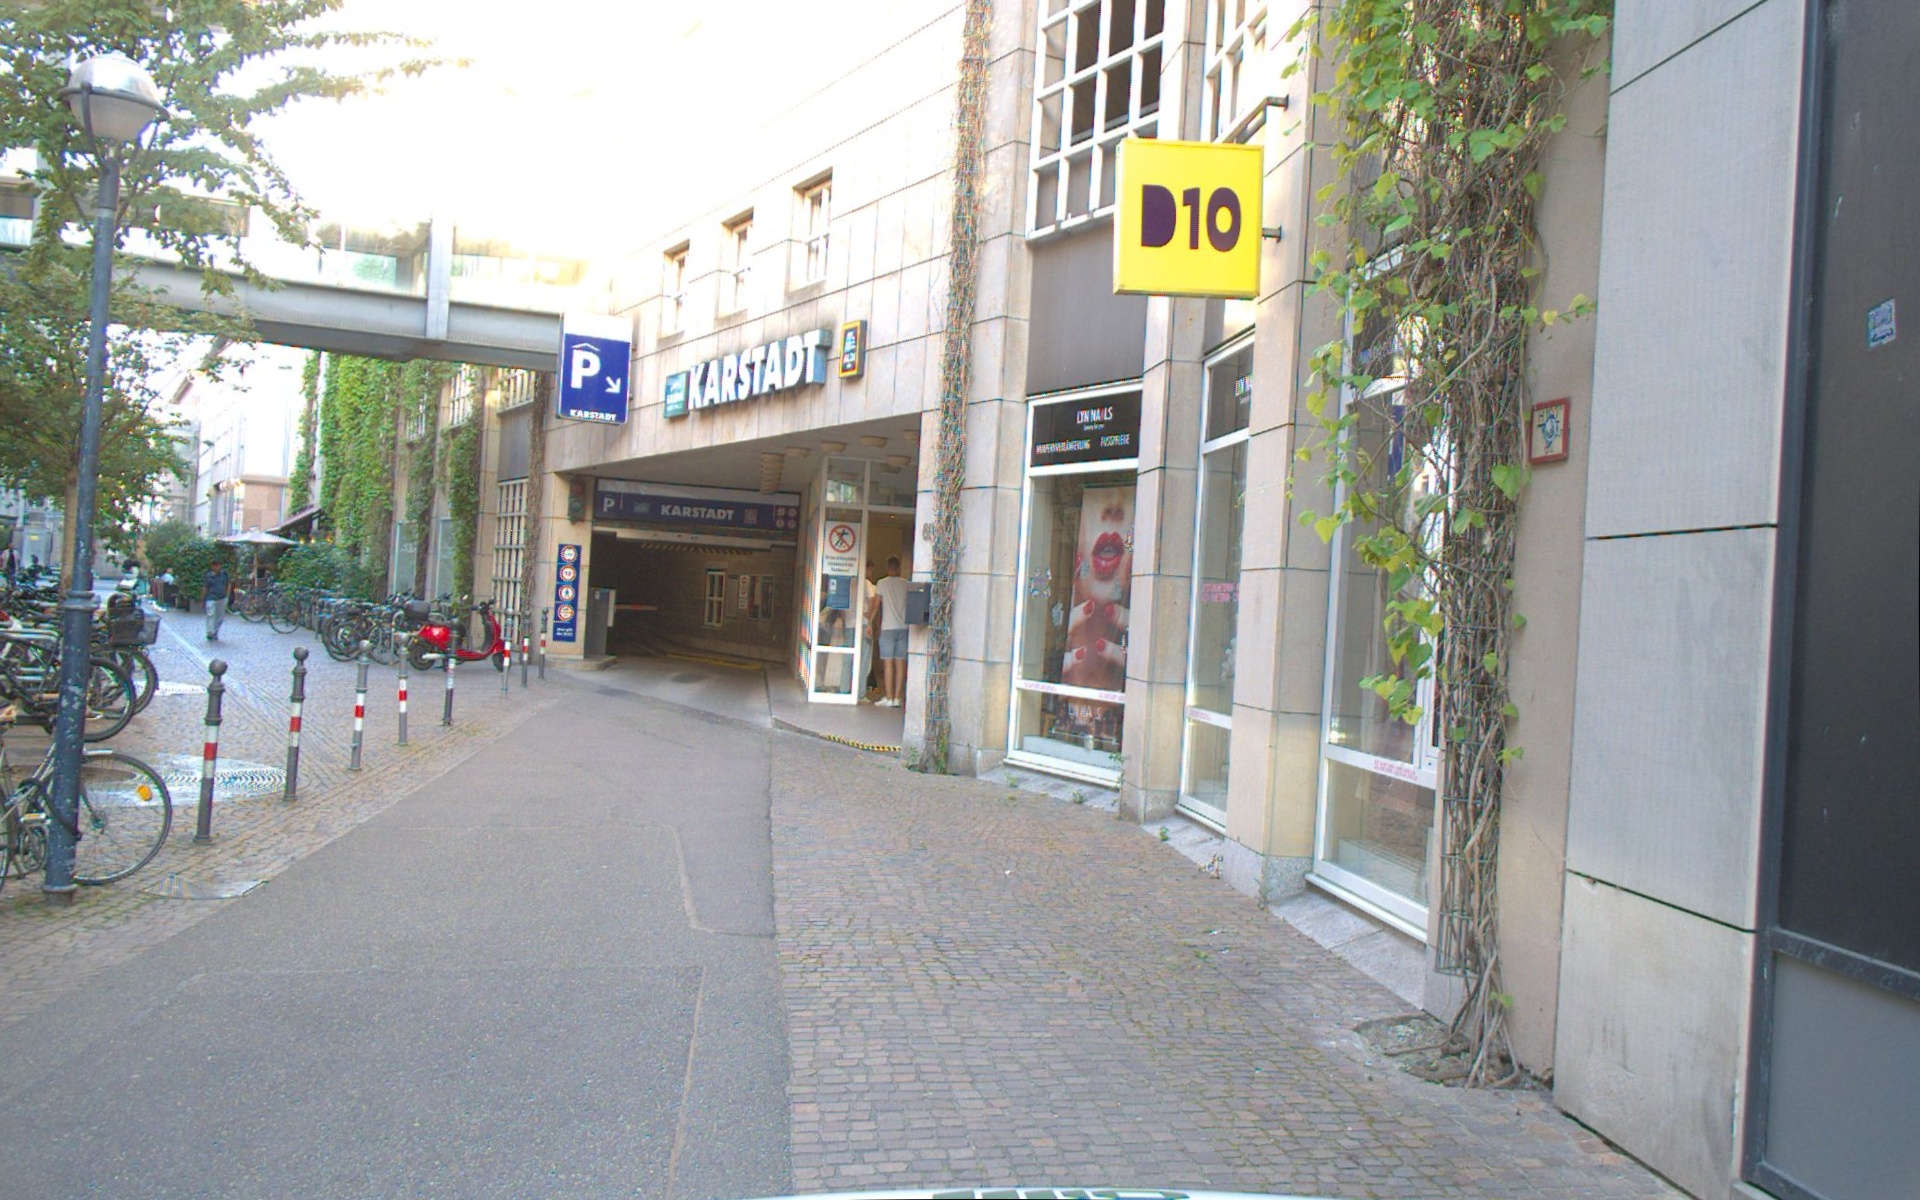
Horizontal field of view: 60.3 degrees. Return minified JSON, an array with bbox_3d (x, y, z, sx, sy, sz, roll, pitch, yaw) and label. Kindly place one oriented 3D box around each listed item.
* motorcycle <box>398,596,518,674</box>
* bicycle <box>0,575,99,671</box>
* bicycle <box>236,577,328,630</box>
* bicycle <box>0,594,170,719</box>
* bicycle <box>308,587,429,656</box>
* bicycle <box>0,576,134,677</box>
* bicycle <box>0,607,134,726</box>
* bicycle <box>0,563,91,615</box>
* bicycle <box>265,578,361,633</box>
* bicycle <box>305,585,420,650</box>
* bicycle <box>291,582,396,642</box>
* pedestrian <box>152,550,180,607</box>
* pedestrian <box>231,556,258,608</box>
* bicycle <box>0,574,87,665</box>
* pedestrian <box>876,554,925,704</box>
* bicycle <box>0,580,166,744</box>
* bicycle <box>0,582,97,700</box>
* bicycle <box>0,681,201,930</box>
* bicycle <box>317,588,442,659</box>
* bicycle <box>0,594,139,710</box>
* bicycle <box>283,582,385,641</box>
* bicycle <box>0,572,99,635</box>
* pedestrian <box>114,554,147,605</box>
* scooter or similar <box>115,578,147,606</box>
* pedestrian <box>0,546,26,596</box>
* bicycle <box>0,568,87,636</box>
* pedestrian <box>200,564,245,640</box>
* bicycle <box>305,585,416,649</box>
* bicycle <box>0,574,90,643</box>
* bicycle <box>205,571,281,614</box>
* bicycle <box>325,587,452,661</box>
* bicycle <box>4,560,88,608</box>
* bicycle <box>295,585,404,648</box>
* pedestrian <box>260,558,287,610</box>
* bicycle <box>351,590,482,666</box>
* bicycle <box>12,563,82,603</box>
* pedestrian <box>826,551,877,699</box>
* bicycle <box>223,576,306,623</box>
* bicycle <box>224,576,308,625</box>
[{"bbox_3d":[-7.853,0.545,25.871,1.723,1.175,0.590,1,0,-25],"label":"motorcycle"},{"bbox_3d":[-12.500,0.290,21.868,1.888,1.203,0.691,3,0,-25],"label":"bicycle"},{"bbox_3d":[-16.068,0.082,39.221,1.970,1.203,0.688,1,0,-27],"label":"bicycle"},{"bbox_3d":[-8.636,0.536,15.825,1.891,1.121,0.690,3,0,-28],"label":"bicycle"},{"bbox_3d":[-10.750,0.389,30.060,1.970,1.203,0.796,1,0,-27],"label":"bicycle"},{"bbox_3d":[-11.715,0.335,21.231,1.888,1.203,0.691,3,0,-25],"label":"bicycle"},{"bbox_3d":[-8.527,0.588,14.914,1.891,1.011,0.690,3,0,-28],"label":"bicycle"},{"bbox_3d":[-22.959,-0.274,41.548,1.888,1.203,0.691,3,0,-25],"label":"bicycle"},{"bbox_3d":[-14.698,0.136,37.578,1.970,1.203,0.688,1,0,-27],"label":"bicycle"},{"bbox_3d":[-11.355,0.335,31.443,1.970,1.203,0.796,1,0,-27],"label":"bicycle"},{"bbox_3d":[-12.815,0.249,34.375,1.970,1.203,0.688,1,0,-27],"label":"bicycle"},{"bbox_3d":[-26.551,-0.717,55.301,0.756,1.836,0.770,3,0,-29],"label":"pedestrian"},{"bbox_3d":[-25.964,-0.647,60.046,0.766,1.836,0.760,3,0,-28],"label":"pedestrian"},{"bbox_3d":[-13.179,0.249,22.825,1.888,1.203,0.691,3,0,-25],"label":"bicycle"},{"bbox_3d":[-0.765,0.365,21.383,0.531,1.894,0.408,3,0,-1],"label":"pedestrian"},{"bbox_3d":[-7.626,0.497,13.613,1.891,1.283,0.801,3,0,-28],"label":"bicycle"},{"bbox_3d":[-10.352,0.415,17.694,1.888,1.203,0.691,3,0,-25],"label":"bicycle"},{"bbox_3d":[-4.273,0.917,7.674,0.494,0.983,1.696,3,0,8],"label":"bicycle"},{"bbox_3d":[-10.170,0.413,28.997,1.970,1.203,0.796,1,0,-27],"label":"bicycle"},{"bbox_3d":[-9.497,0.517,16.904,1.888,1.121,0.691,3,0,-25],"label":"bicycle"},{"bbox_3d":[-13.382,0.245,35.379,1.970,1.203,0.688,1,0,-27],"label":"bicycle"},{"bbox_3d":[-18.904,0.068,34.176,1.888,1.203,0.691,3,0,-25],"label":"bicycle"},{"bbox_3d":[-27.612,-0.684,55.032,0.881,1.668,0.903,3,0,-29],"label":"pedestrian"},{"bbox_3d":[-27.181,-0.266,54.218,0.881,0.858,0.903,3,0,-29],"label":"scooter or similar"},{"bbox_3d":[-35.635,-1.106,62.213,0.766,1.836,0.628,3,0,-29],"label":"pedestrian"},{"bbox_3d":[-17.732,0.031,31.476,1.888,1.203,0.691,3,0,-25],"label":"bicycle"},{"bbox_3d":[-15.208,0.043,34.108,0.740,1.536,0.632,3,0,-29],"label":"pedestrian"},{"bbox_3d":[-11.729,0.341,32.387,1.970,1.203,0.688,1,0,-27],"label":"bicycle"},{"bbox_3d":[-17.285,0.154,30.723,1.888,1.203,0.691,3,0,-25],"label":"bicycle"},{"bbox_3d":[-20.729,-0.212,47.803,1.970,1.203,0.688,1,0,-27],"label":"bicycle"},{"bbox_3d":[-9.730,0.413,28.168,1.970,1.203,0.690,1,0,-27],"label":"bicycle"},{"bbox_3d":[-25.005,-0.446,45.273,1.888,1.203,0.691,3,0,-25],"label":"bicycle"},{"bbox_3d":[-12.253,0.331,33.205,1.970,1.203,0.688,1,0,-27],"label":"bicycle"},{"bbox_3d":[-24.983,-0.591,60.219,0.766,1.836,0.760,3,0,-28],"label":"pedestrian"},{"bbox_3d":[-9.000,0.467,27.403,1.970,1.203,0.690,1,0,-27],"label":"bicycle"},{"bbox_3d":[-29.968,-0.564,54.330,1.888,1.203,0.691,3,0,-25],"label":"bicycle"},{"bbox_3d":[-1.408,0.325,21.516,0.531,1.878,0.408,3,0,-1],"label":"pedestrian"},{"bbox_3d":[-18.342,-0.013,43.605,1.970,1.203,0.688,1,0,-27],"label":"bicycle"},{"bbox_3d":[-17.975,0.020,42.839,1.970,1.203,0.688,1,0,-27],"label":"bicycle"}]
